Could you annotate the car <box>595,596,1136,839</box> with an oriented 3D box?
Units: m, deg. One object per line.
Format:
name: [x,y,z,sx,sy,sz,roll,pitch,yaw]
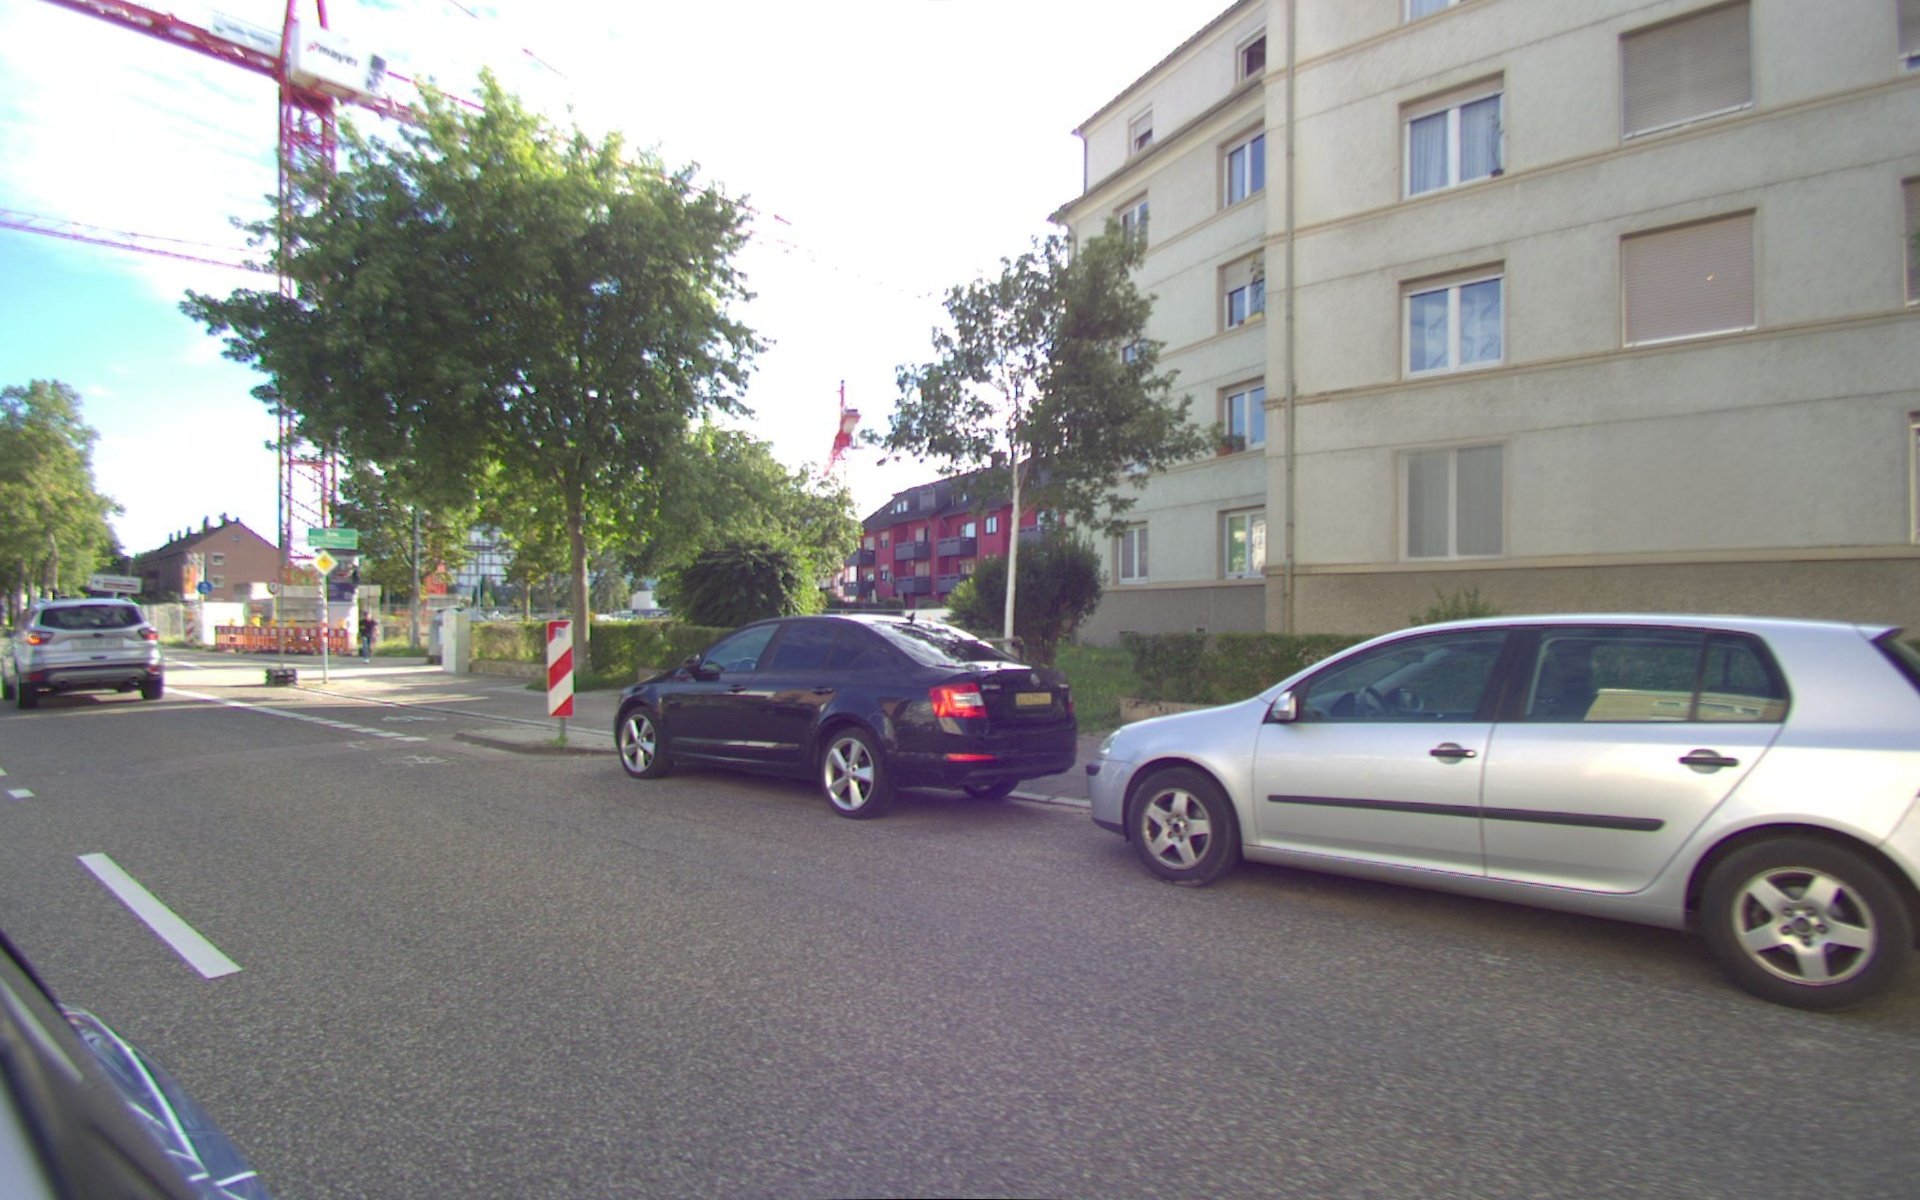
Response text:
car: [-0.952,0.793,8.428,4.416,1.497,1.908,-1,-3,39]

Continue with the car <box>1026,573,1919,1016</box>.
car: [2.623,0.717,5.206,4.367,1.497,1.801,-1,-3,41]

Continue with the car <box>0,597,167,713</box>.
car: [-14.734,0.815,16.751,4.082,1.681,1.810,-1,0,41]

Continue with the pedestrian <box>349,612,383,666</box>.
pedestrian: [-19.930,1.317,33.964,0.775,1.781,0.734,-1,-2,40]
